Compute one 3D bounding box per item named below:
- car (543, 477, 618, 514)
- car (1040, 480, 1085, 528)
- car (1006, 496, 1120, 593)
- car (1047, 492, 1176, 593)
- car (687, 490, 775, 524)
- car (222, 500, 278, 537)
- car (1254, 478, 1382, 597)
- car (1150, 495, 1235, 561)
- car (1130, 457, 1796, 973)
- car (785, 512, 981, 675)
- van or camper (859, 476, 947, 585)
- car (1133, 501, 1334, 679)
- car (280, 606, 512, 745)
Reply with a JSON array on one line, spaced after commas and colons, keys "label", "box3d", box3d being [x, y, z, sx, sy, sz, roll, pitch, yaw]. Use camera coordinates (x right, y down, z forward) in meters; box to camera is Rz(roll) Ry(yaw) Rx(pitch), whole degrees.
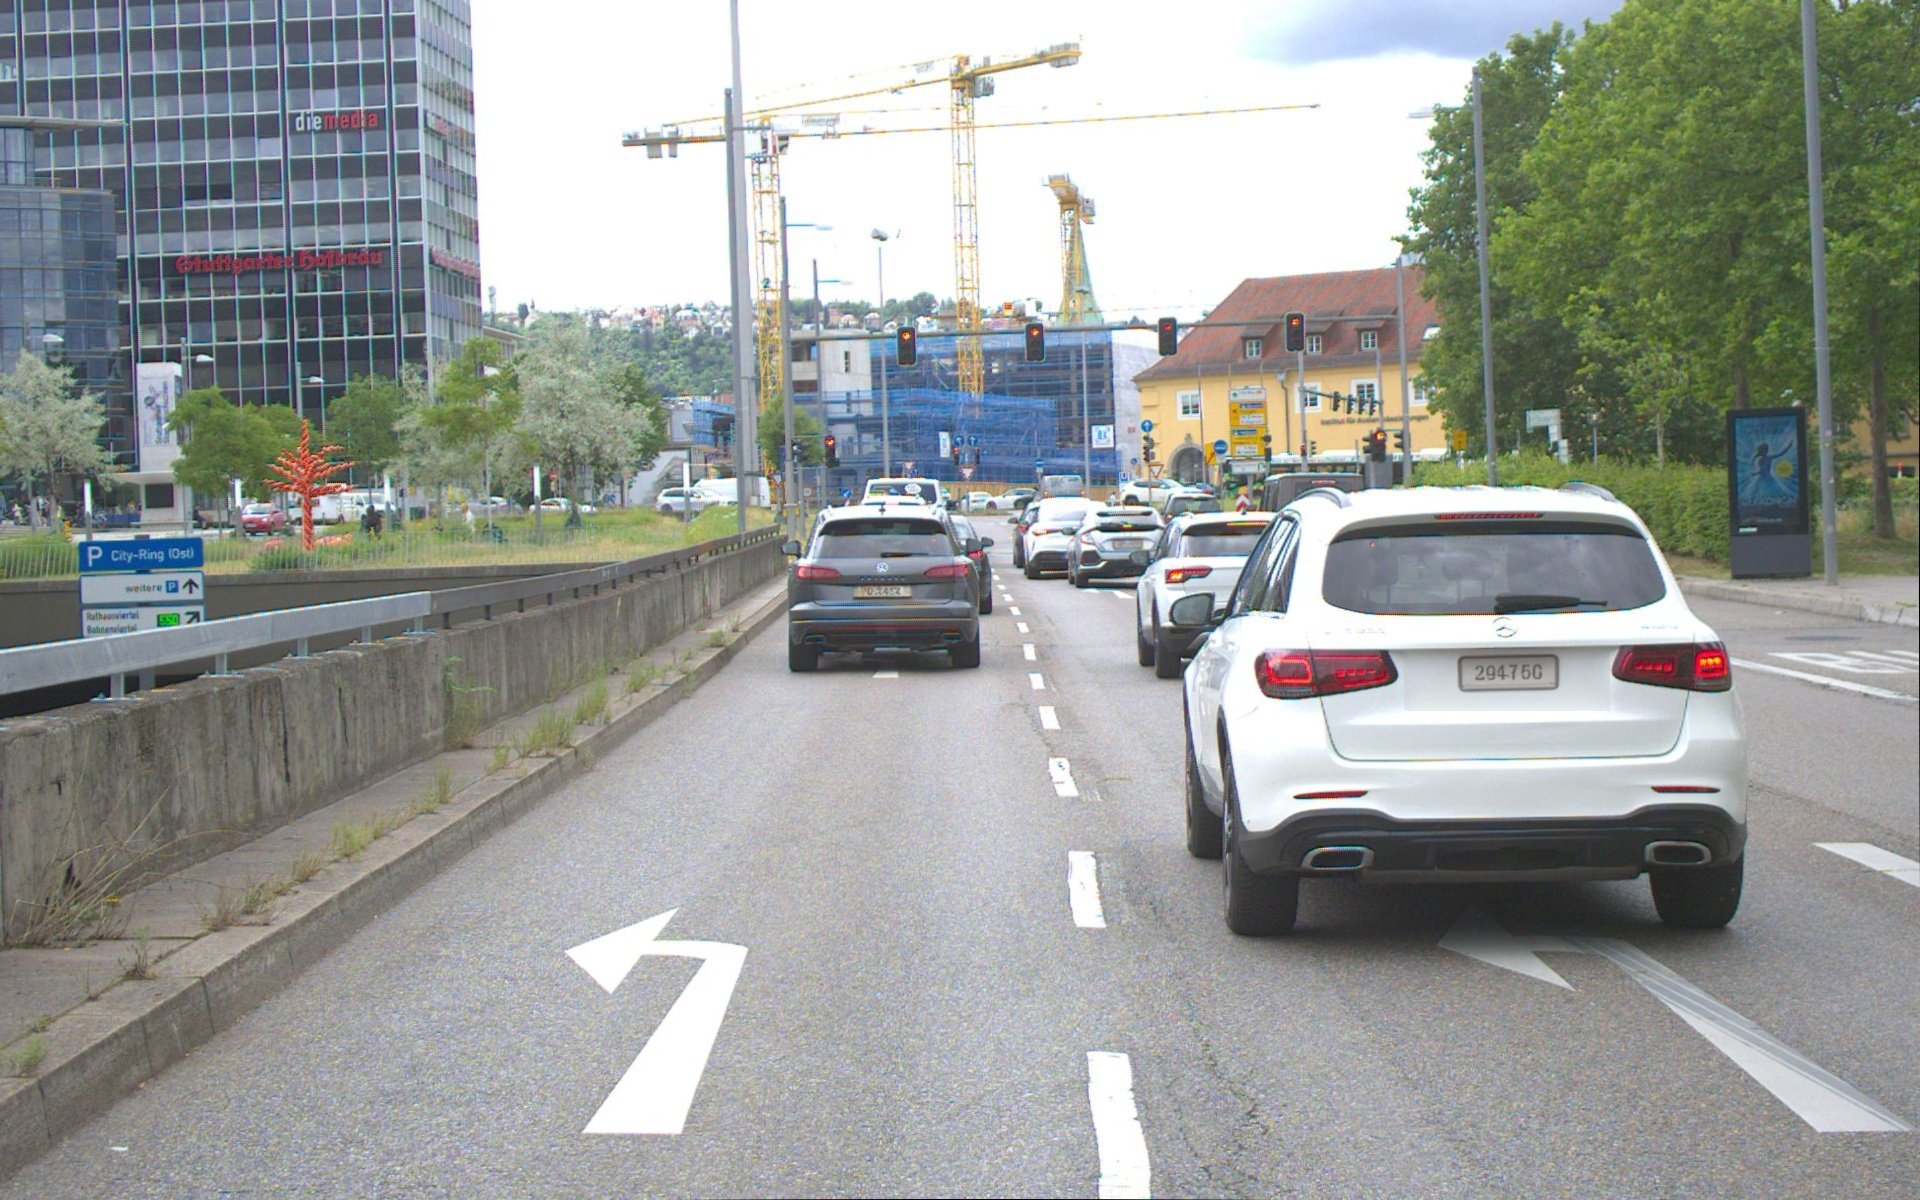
[{"label": "car", "box3d": [-22.017, -6.068, 199.447, 3.986, 2.007, 2.001, 1, 0, -17]}, {"label": "car", "box3d": [4.487, -4.212, 151.035, 1.800, 2.007, 4.000, 1, 0, -1]}, {"label": "car", "box3d": [1.919, -1.023, 65.297, 1.993, 1.774, 4.000, 1, 0, -1]}, {"label": "car", "box3d": [2.553, -0.960, 58.785, 1.993, 1.656, 4.000, 1, 0, -1]}, {"label": "car", "box3d": [-14.185, -5.746, 212.999, 5.280, 2.053, 1.870, 1, 0, 30]}, {"label": "car", "box3d": [-32.591, -3.747, 157.937, 1.867, 1.612, 3.481, 1, 0, -1]}, {"label": "car", "box3d": [6.288, -1.103, 60.676, 1.788, 2.007, 4.000, -1, 1, -1]}, {"label": "car", "box3d": [5.764, -1.778, 85.683, 1.719, 1.579, 4.000, 1, 1, -2]}, {"label": "car", "box3d": [1.786, 0.378, 13.526, 1.940, 1.678, 4.000, -2, 0, -1]}, {"label": "car", "box3d": [-0.786, -0.102, 36.053, 1.922, 1.596, 4.000, -1, 1, -1]}, {"label": "van or camper", "box3d": [-1.287, -1.549, 78.191, 1.922, 2.312, 4.000, -1, -1, -1]}, {"label": "car", "box3d": [2.616, -0.111, 33.604, 1.672, 1.622, 4.000, 1, 0, 1]}, {"label": "car", "box3d": [-5.849, 0.749, 36.075, 1.719, 1.288, 4.000, 1, 1, 1]}]
